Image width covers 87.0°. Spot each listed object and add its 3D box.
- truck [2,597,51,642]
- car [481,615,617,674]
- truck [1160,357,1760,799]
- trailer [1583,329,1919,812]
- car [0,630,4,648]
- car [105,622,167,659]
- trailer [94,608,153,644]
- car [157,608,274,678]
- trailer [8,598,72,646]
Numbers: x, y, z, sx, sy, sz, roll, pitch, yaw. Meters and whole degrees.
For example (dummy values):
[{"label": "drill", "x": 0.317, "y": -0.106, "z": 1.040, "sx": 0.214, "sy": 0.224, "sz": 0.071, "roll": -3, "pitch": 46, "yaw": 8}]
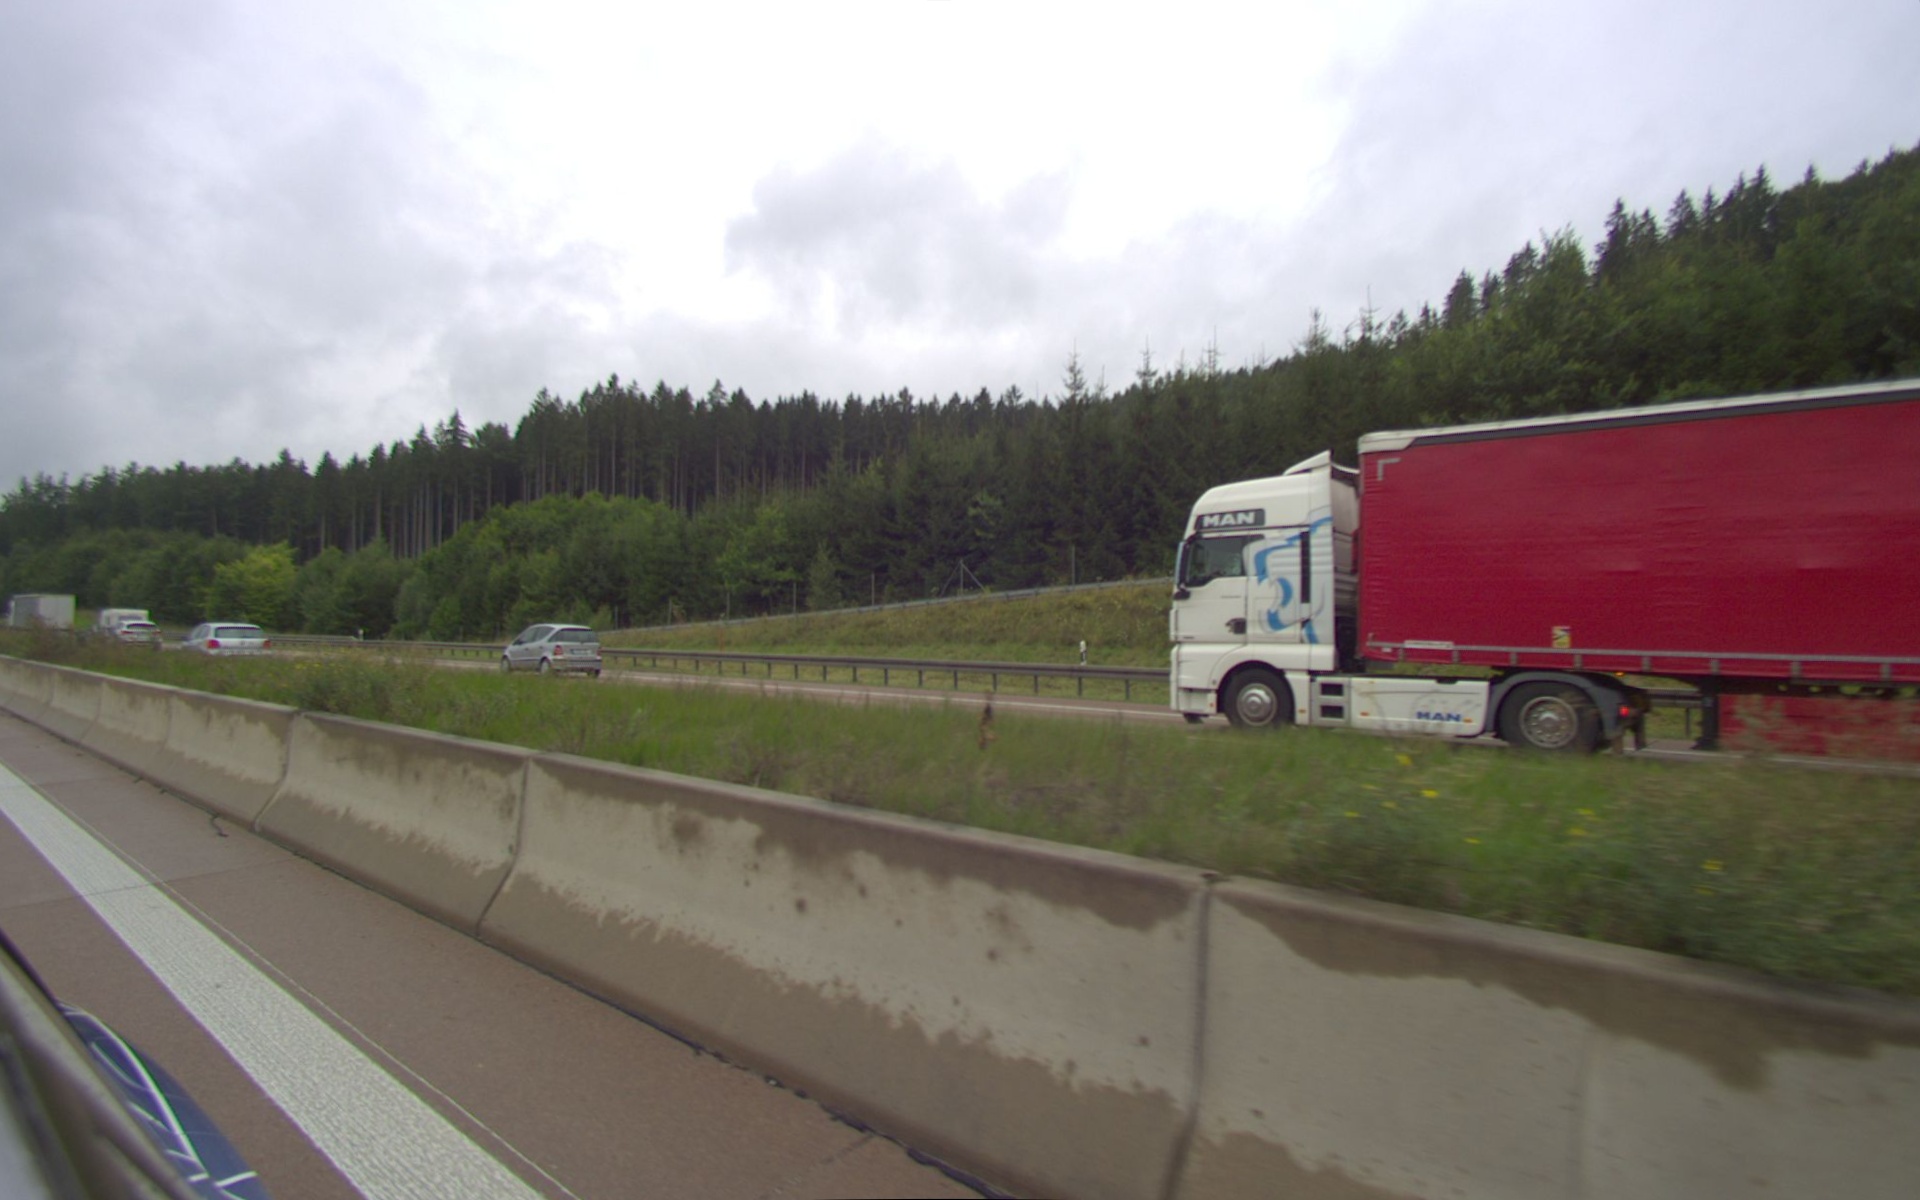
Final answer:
[{"label": "truck", "x": -91.333, "y": 1.902, "z": 99.013, "sx": 5.997, "sy": 4.207, "sz": 2.740, "roll": 0, "pitch": -2, "yaw": 41}, {"label": "car", "x": -12.411, "y": 1.264, "z": 30.431, "sx": 4.522, "sy": 1.587, "sz": 1.973, "roll": 0, "pitch": -1, "yaw": 41}, {"label": "truck", "x": 6.428, "y": -0.247, "z": 13.681, "sx": 6.789, "sy": 4.511, "sz": 2.919, "roll": 0, "pitch": 1, "yaw": 41}, {"label": "trailer", "x": 12.305, "y": -0.278, "z": 8.498, "sx": 11.770, "sy": 4.522, "sz": 2.910, "roll": 0, "pitch": 1, "yaw": 41}, {"label": "car", "x": -86.284, "y": 3.464, "z": 89.638, "sx": 5.673, "sy": 1.569, "sz": 1.674, "roll": -1, "pitch": -3, "yaw": 41}, {"label": "car", "x": -43.219, "y": 2.078, "z": 53.033, "sx": 4.708, "sy": 1.678, "sz": 1.845, "roll": 0, "pitch": 1, "yaw": 42}, {"label": "trailer", "x": -59.545, "y": 1.901, "z": 72.029, "sx": 5.434, "sy": 2.430, "sz": 2.253, "roll": -2, "pitch": -4, "yaw": 40}, {"label": "car", "x": -21.571, "y": 1.177, "z": 29.268, "sx": 4.409, "sy": 1.798, "sz": 1.686, "roll": 0, "pitch": 1, "yaw": 39}, {"label": "trailer", "x": -85.838, "y": 1.976, "z": 94.296, "sx": 12.747, "sy": 4.171, "sz": 2.711, "roll": 0, "pitch": -2, "yaw": 41}]
